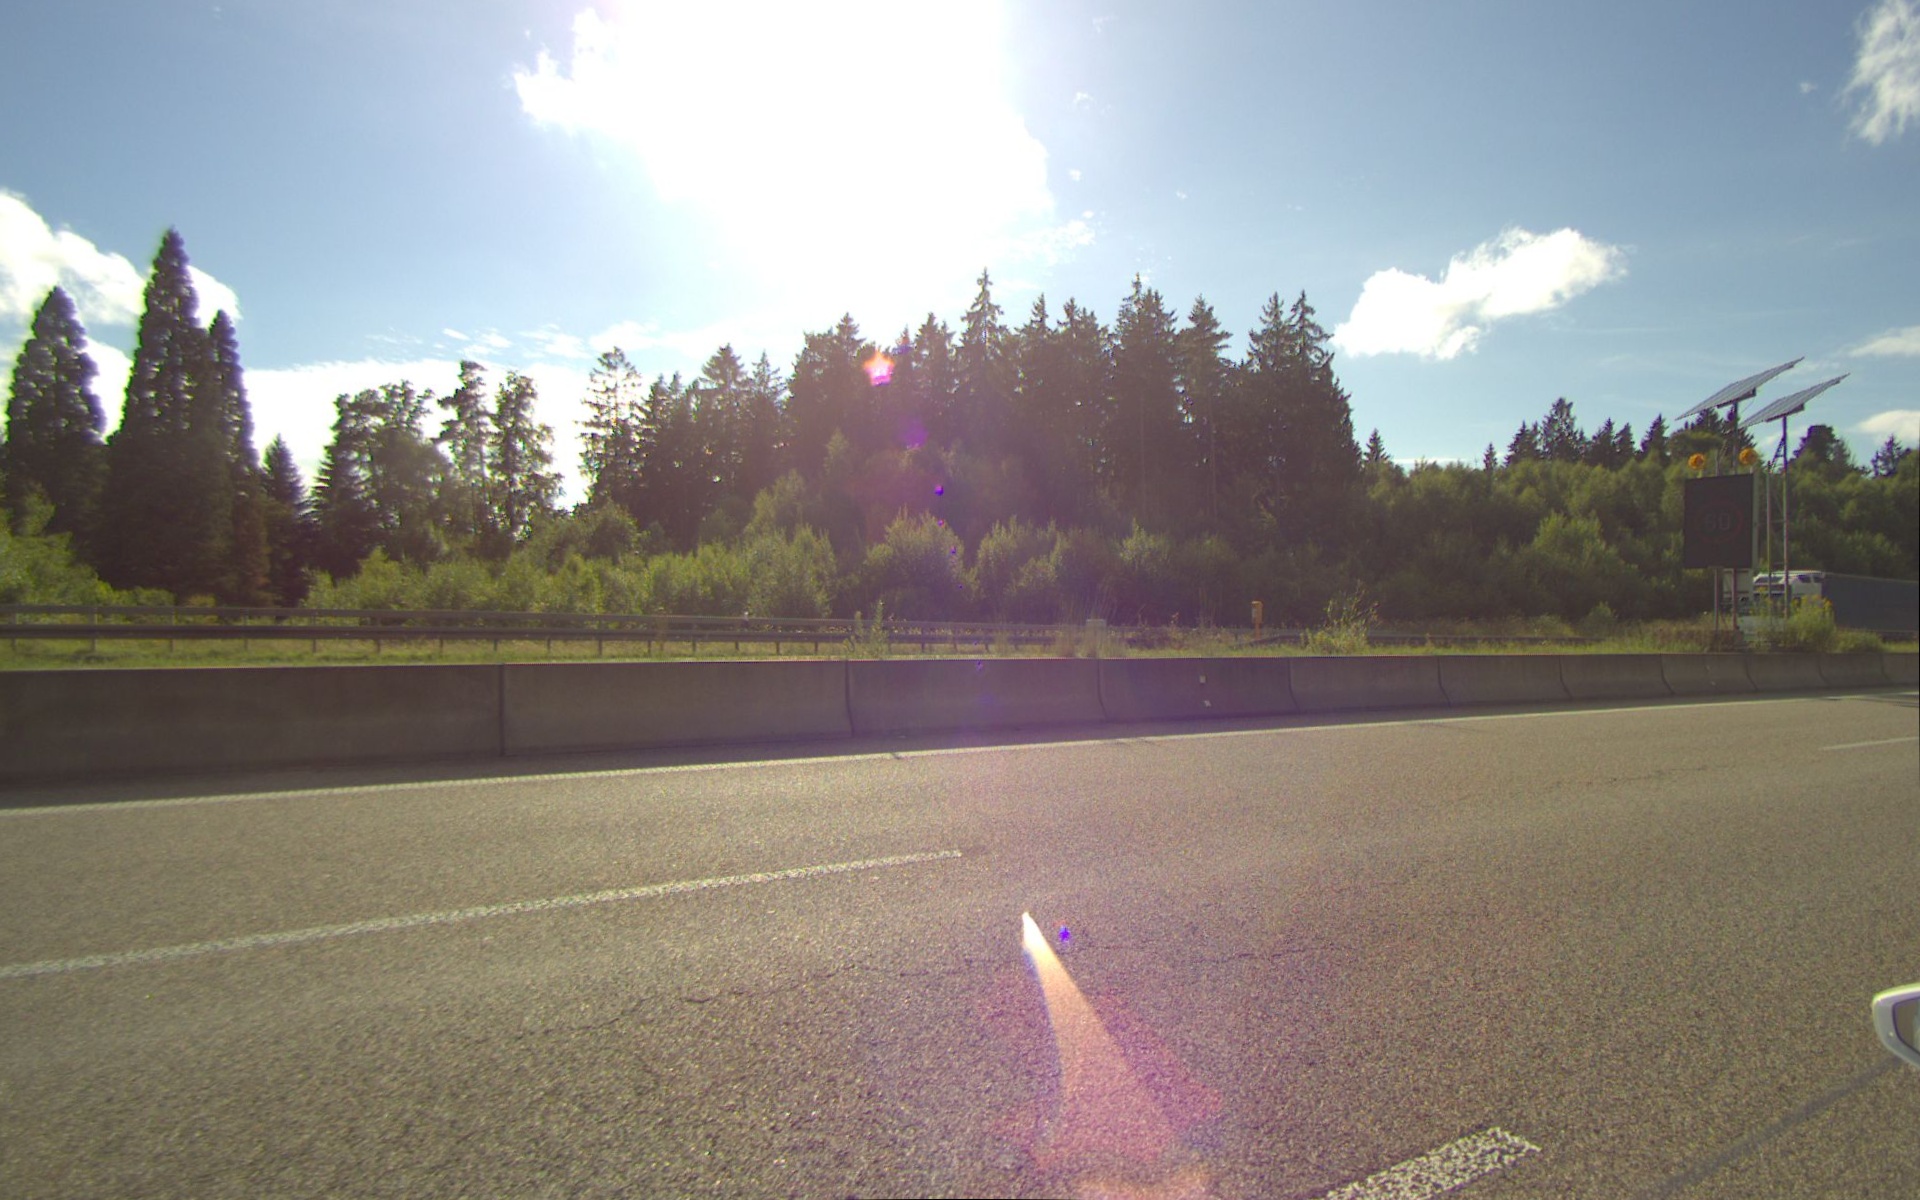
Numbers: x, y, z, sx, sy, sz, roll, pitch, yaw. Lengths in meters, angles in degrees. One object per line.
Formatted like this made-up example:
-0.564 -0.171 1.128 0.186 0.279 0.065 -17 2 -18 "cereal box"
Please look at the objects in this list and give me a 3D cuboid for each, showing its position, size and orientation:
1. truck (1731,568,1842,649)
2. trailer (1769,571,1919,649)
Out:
40.212 0.454 48.837 5.463 3.778 2.269 1 0 -29 "truck"
46.811 0.613 52.479 13.111 3.778 2.269 1 0 -29 "trailer"
